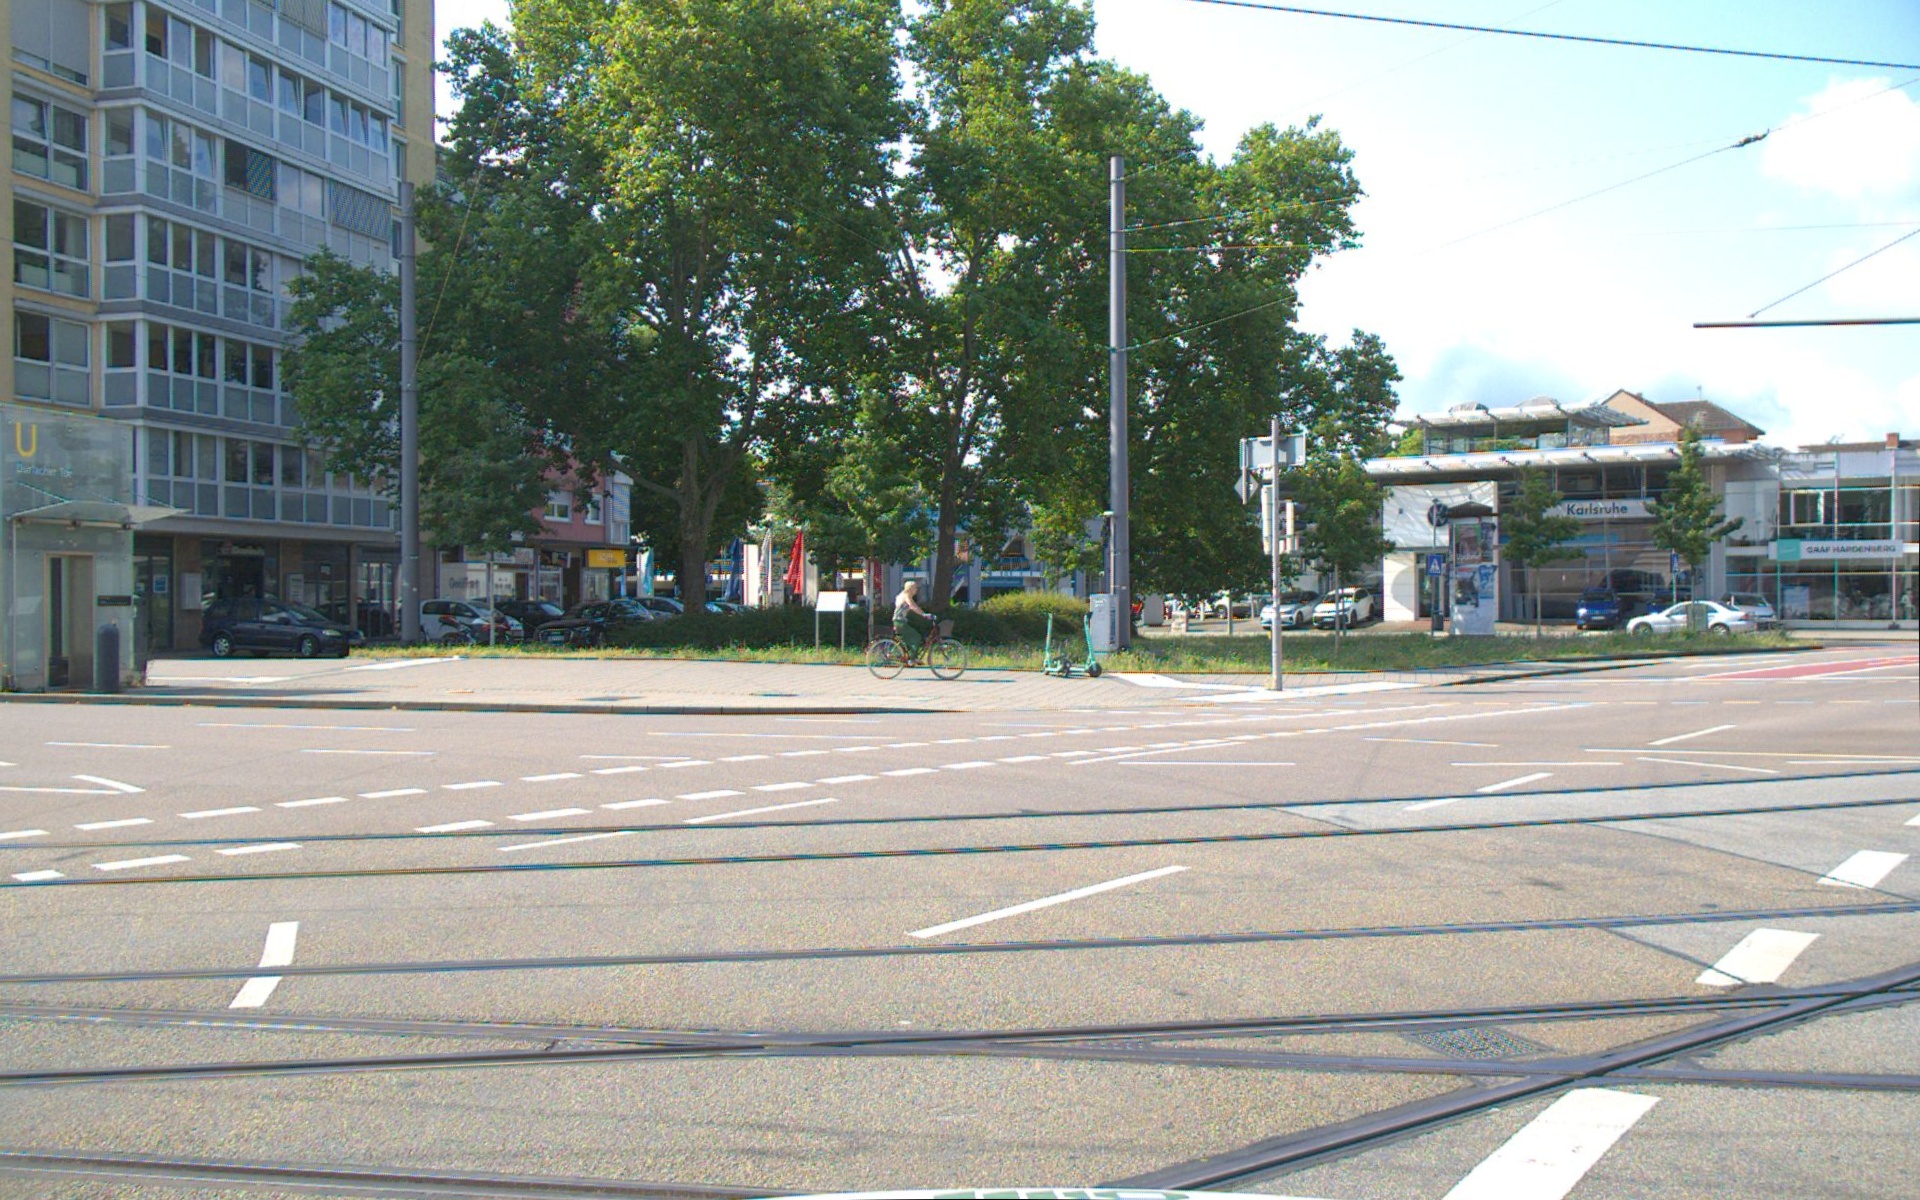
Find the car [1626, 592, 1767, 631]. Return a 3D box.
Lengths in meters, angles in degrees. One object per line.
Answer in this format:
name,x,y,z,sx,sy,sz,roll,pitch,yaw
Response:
car,27.197,0.449,61.134,4.458,1.378,1.992,-1,-1,36

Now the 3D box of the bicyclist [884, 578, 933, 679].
bicyclist,-0.912,0.510,29.685,0.808,1.775,0.712,0,-1,3

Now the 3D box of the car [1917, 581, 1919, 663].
car,20.157,0.417,31.938,3.967,1.540,1.798,1,-1,-43

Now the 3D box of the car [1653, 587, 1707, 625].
car,30.062,0.228,68.983,1.882,1.470,3.996,1,2,26

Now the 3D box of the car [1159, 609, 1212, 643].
car,11.192,1.288,81.834,1.647,1.624,3.999,-1,-1,22

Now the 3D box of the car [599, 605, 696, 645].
car,-12.724,1.023,67.444,3.532,1.622,1.666,-1,-1,19

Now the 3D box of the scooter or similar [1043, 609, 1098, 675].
scooter or similar,2.030,0.775,30.355,0.914,1.178,0.379,1,2,-24

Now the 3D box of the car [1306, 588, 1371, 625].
car,17.713,0.301,77.336,2.027,1.632,3.995,-1,0,28

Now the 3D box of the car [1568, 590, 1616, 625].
car,27.071,0.306,70.786,1.880,1.470,4.000,0,0,22

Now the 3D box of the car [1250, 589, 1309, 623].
car,15.253,0.307,78.778,1.953,1.601,3.998,-1,-1,24

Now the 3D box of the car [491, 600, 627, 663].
car,-10.908,0.820,45.221,1.754,1.444,4.003,4,2,17

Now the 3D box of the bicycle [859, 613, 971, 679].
bicycle,-0.797,0.821,29.629,1.944,1.147,0.790,0,-1,4

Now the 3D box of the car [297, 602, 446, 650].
car,-17.296,0.770,48.654,3.902,1.350,1.587,-1,-1,15

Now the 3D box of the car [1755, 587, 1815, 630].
car,33.872,0.349,67.888,1.884,1.578,3.992,5,2,30

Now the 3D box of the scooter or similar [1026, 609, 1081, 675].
scooter or similar,1.745,0.785,30.867,0.910,1.178,0.380,2,2,-12

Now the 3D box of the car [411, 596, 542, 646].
car,-15.412,0.677,52.768,3.486,1.557,2.001,-1,-1,15

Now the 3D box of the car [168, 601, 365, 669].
car,-17.845,0.882,42.628,4.284,1.613,2.001,1,-1,14

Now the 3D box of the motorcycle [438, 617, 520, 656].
motorcycle,-11.820,0.890,40.676,1.867,0.918,0.600,0,1,-28
